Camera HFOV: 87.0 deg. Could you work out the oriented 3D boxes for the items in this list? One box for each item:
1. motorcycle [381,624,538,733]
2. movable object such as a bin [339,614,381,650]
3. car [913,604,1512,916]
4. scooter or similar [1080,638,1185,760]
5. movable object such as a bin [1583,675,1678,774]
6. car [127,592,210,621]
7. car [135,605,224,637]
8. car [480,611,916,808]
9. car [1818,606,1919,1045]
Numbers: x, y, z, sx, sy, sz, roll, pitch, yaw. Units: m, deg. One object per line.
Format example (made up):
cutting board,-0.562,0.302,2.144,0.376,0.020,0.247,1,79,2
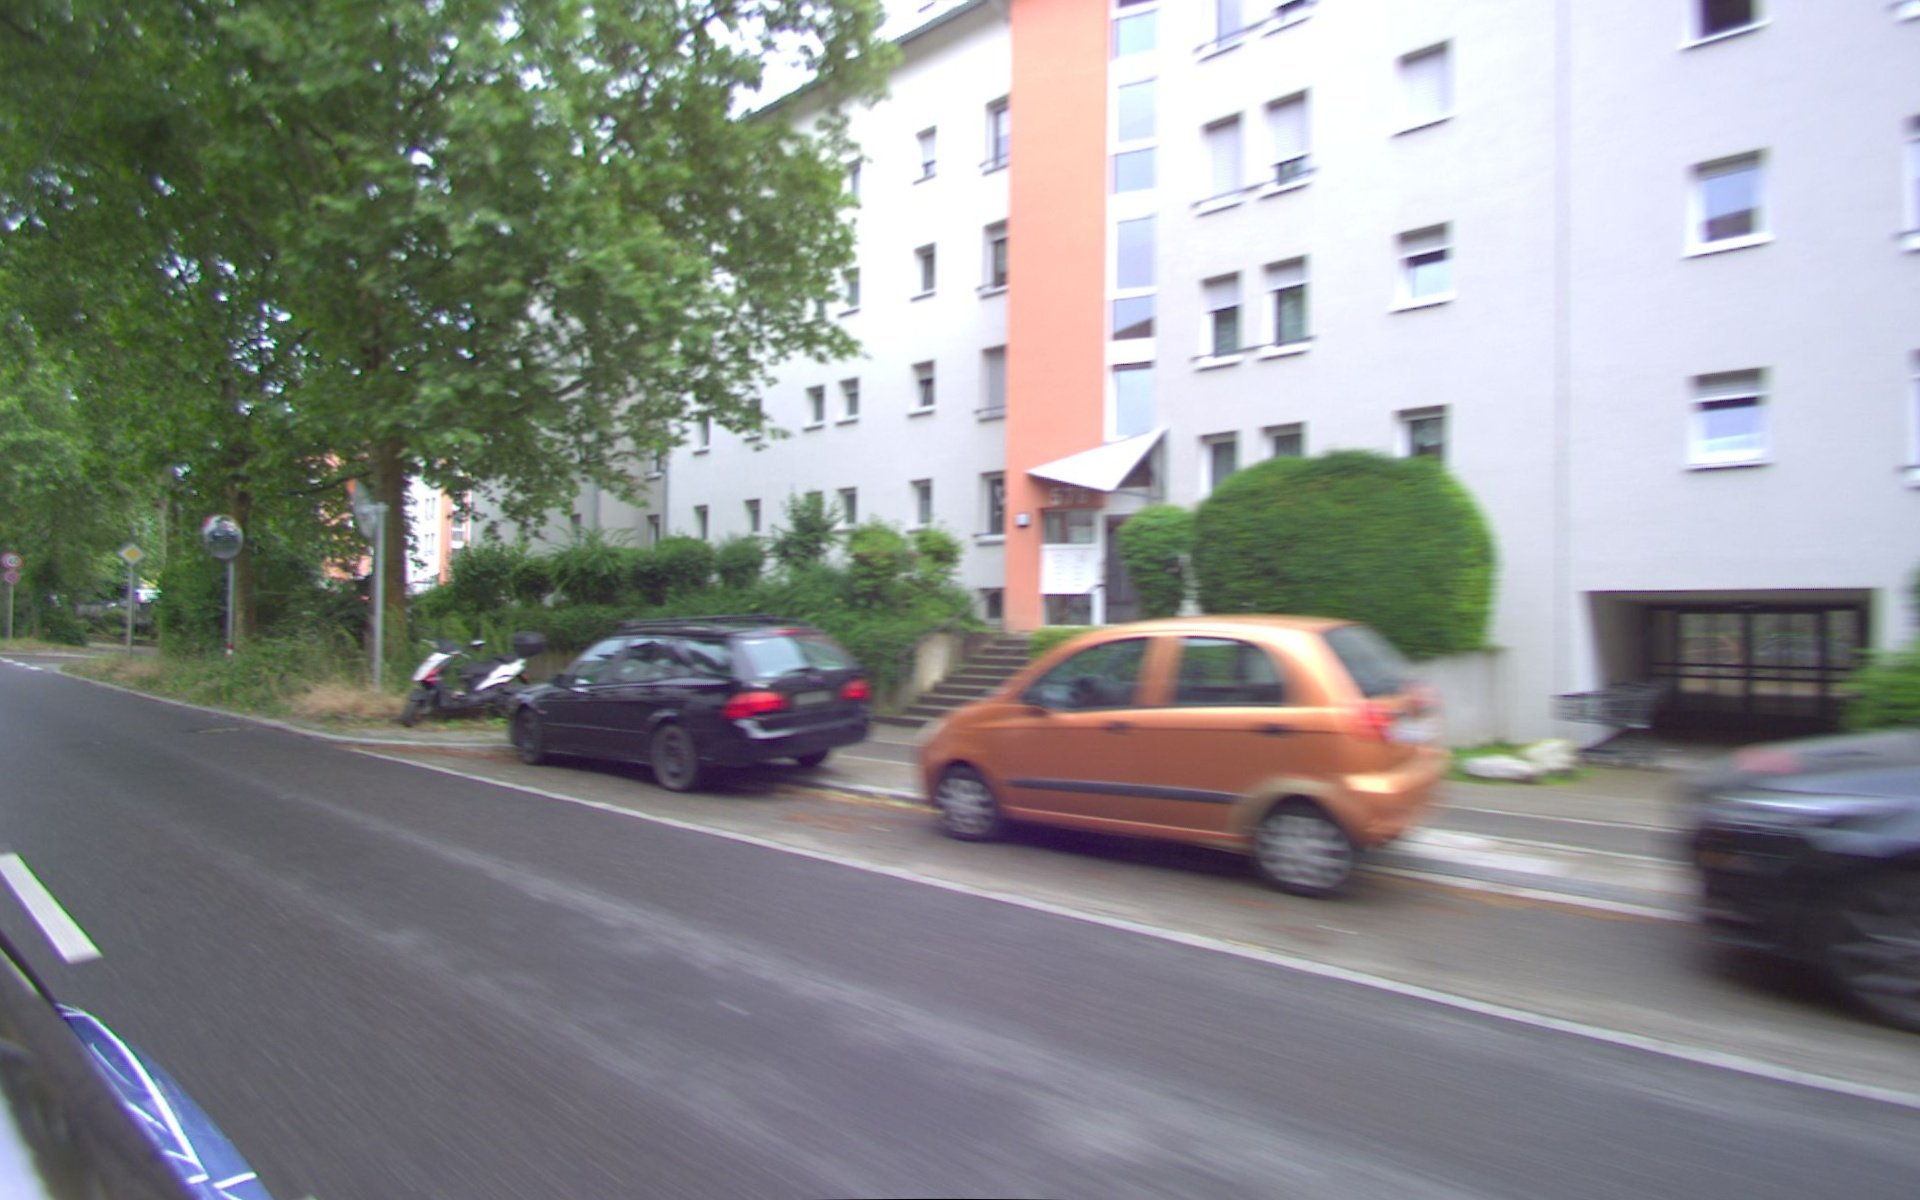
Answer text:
motorcycle,-6.585,1.003,13.388,0.722,1.350,1.695,-1,-3,41
movable object such as a bin,-26.554,1.416,44.786,1.300,1.474,1.150,-1,3,40
car,1.468,0.790,6.482,3.394,1.478,1.540,-1,-1,40
scooter or similar,2.080,1.157,12.228,1.025,1.379,0.772,-1,-2,35
movable object such as a bin,8.187,1.494,12.382,0.927,1.084,0.854,-1,-1,34
car,-48.909,0.364,62.581,1.736,1.701,3.755,0,1,38
car,-46.770,1.243,60.676,1.958,1.808,3.946,-1,-1,41
car,-2.789,0.898,10.031,4.799,1.521,1.700,-1,-1,39
car,5.053,0.736,3.004,3.752,1.478,1.699,-1,-1,40
